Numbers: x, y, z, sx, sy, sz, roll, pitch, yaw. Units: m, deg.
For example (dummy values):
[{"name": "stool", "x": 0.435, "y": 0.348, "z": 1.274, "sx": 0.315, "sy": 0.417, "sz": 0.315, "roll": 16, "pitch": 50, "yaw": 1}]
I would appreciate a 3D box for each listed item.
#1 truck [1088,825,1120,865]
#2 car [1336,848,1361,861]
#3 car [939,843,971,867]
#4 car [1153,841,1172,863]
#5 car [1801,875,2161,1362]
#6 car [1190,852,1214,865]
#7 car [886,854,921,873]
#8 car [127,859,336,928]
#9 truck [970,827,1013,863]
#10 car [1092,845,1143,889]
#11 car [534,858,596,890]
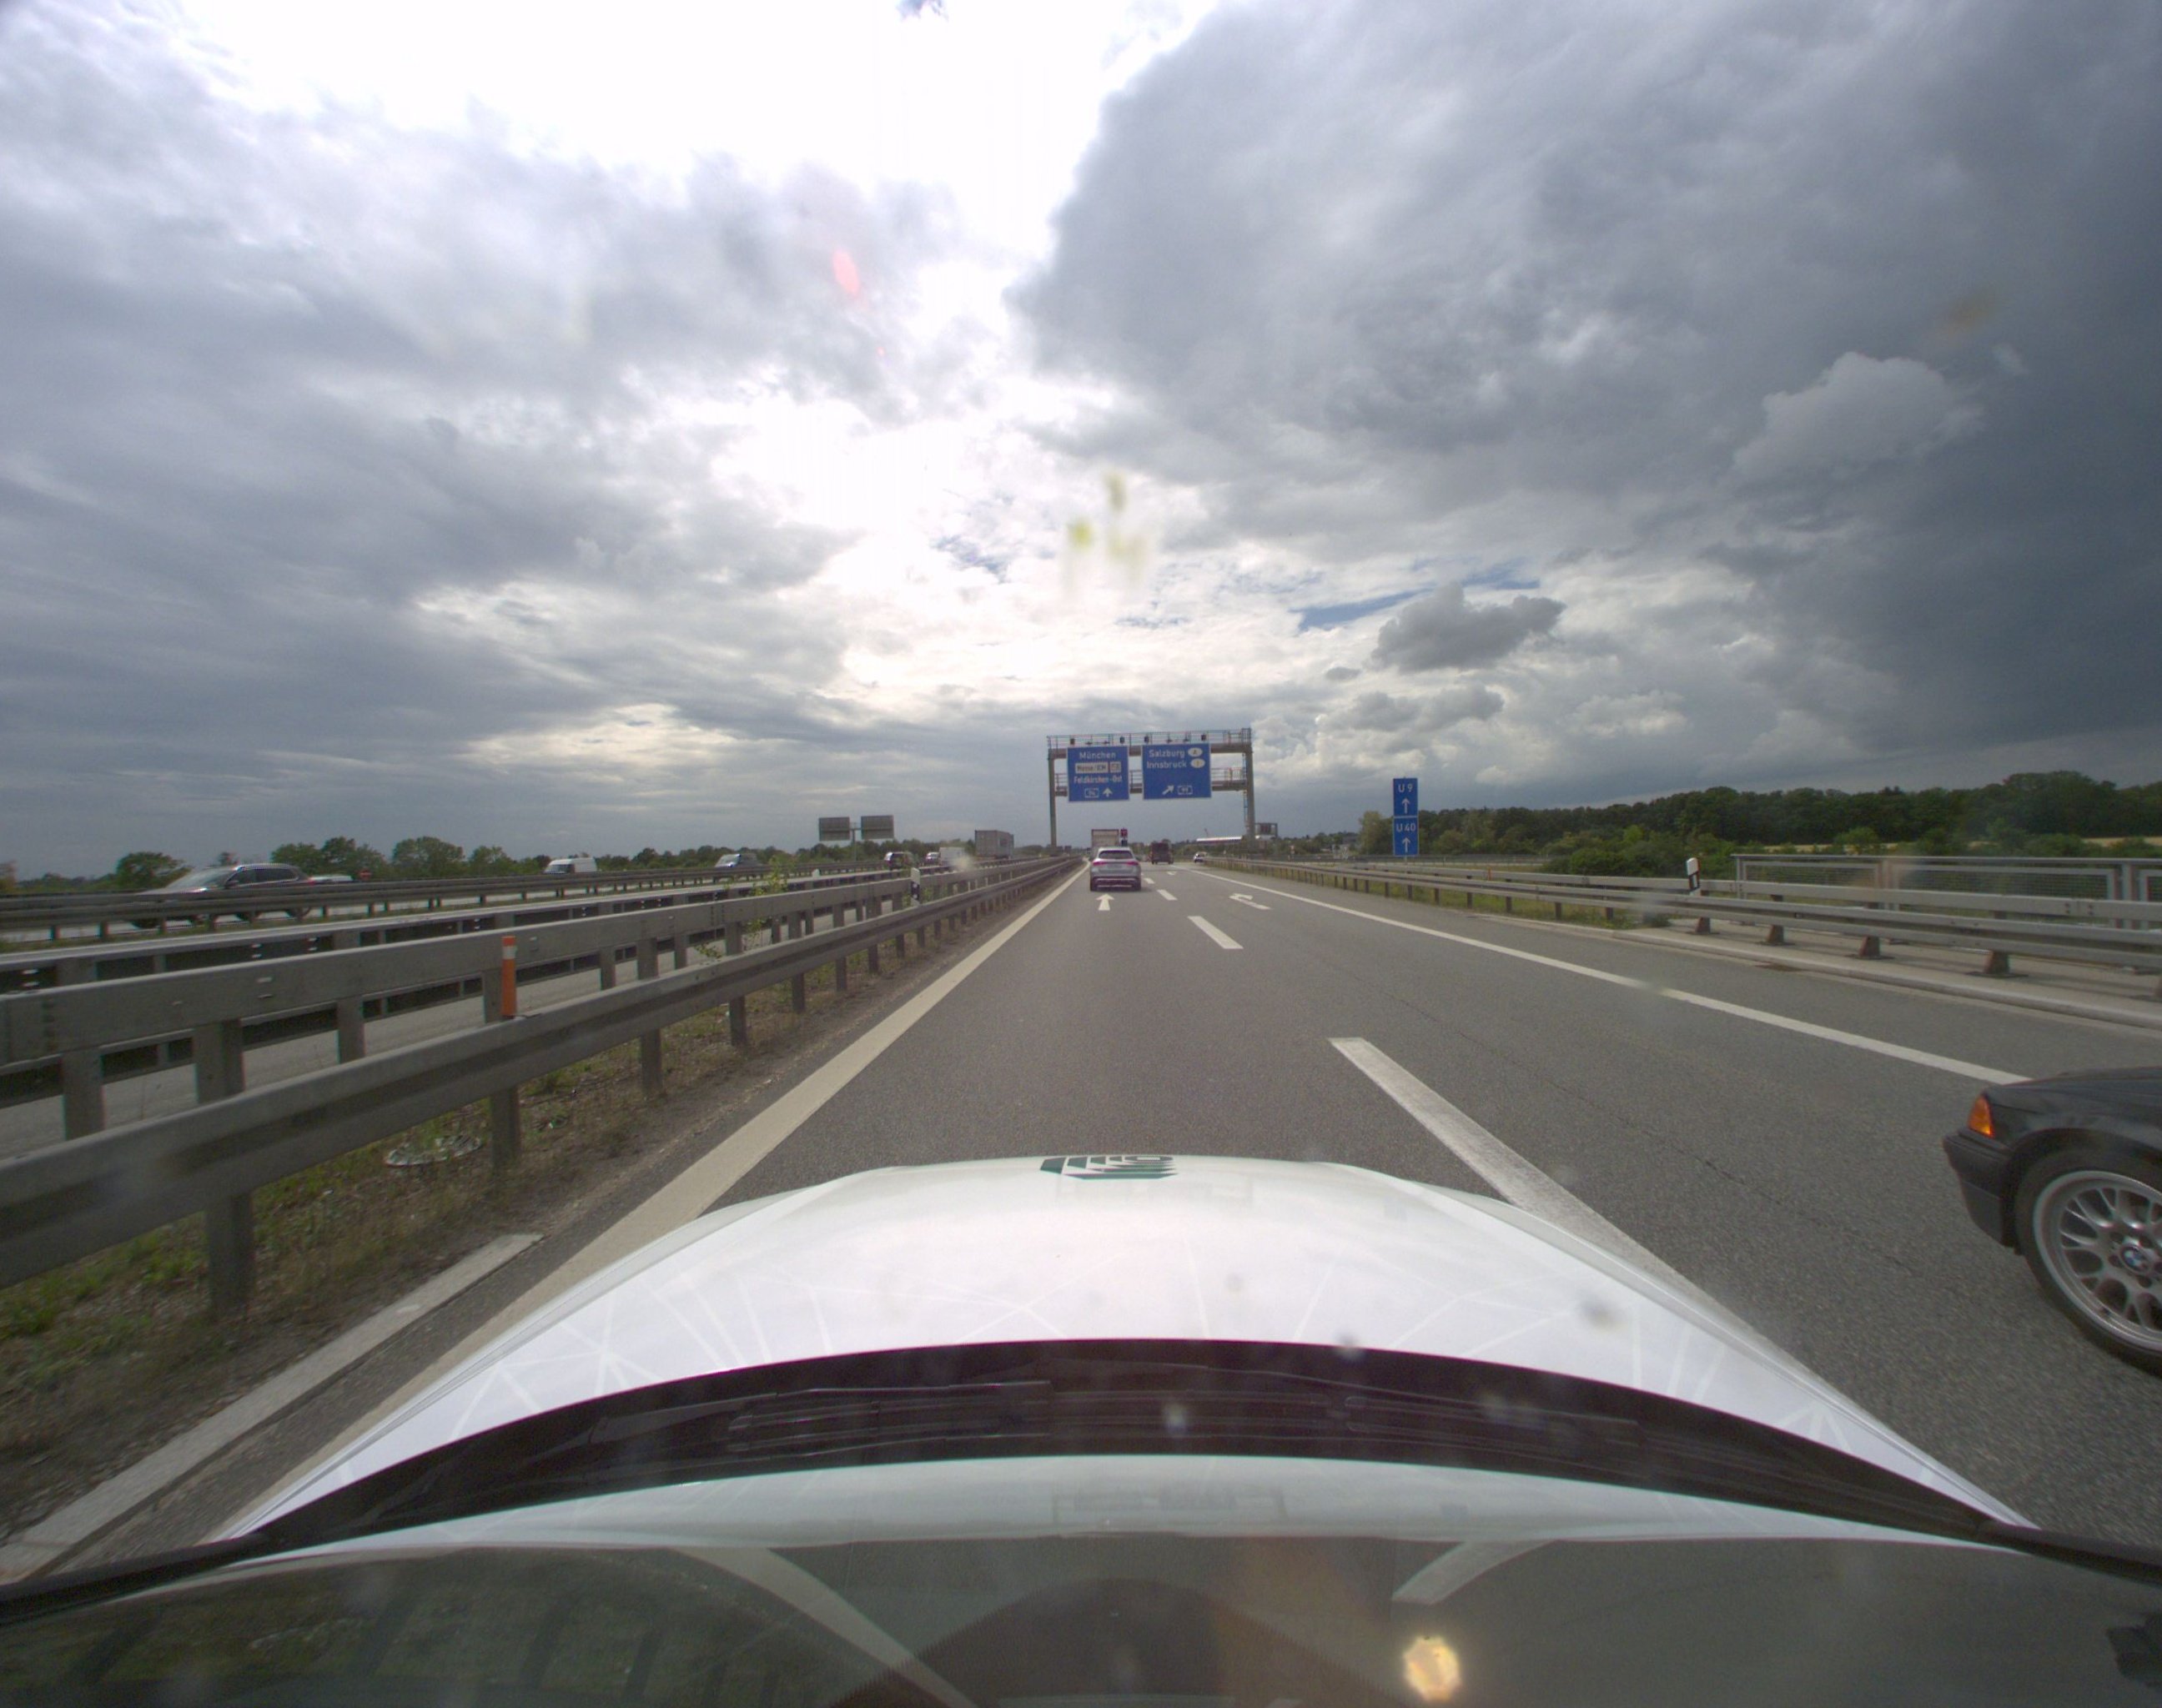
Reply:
[{"name": "truck", "x": 1.961, "y": -0.713, "z": 68.711, "sx": 2.559, "sy": 3.126, "sz": 8.638, "roll": 0, "pitch": 0, "yaw": 2}, {"name": "car", "x": 46.662, "y": 0.051, "z": 142.192, "sx": 4.009, "sy": 2.013, "sz": 1.768, "roll": 2, "pitch": 0, "yaw": -27}, {"name": "car", "x": -11.277, "y": 0.072, "z": 72.976, "sx": 1.986, "sy": 2.013, "sz": 4.377, "roll": 0, "pitch": 1, "yaw": 2}, {"name": "car", "x": 8.606, "y": -0.222, "z": 86.748, "sx": 1.898, "sy": 2.261, "sz": 4.655, "roll": 0, "pitch": 1, "yaw": 4}, {"name": "car", "x": 3.756, "y": 0.770, "z": 1.223, "sx": 1.697, "sy": 1.281, "sz": 4.370, "roll": 0, "pitch": 1, "yaw": 3}, {"name": "car", "x": 16.845, "y": 0.584, "z": 113.243, "sx": 1.974, "sy": 1.709, "sz": 4.025, "roll": 0, "pitch": 1, "yaw": 30}, {"name": "car", "x": -15.270, "y": 0.805, "z": 70.274, "sx": 1.874, "sy": 1.546, "sz": 4.617, "roll": 0, "pitch": 1, "yaw": 1}, {"name": "car", "x": -25.327, "y": 1.106, "z": 24.516, "sx": 1.902, "sy": 1.793, "sz": 4.004, "roll": -1, "pitch": 1, "yaw": 3}, {"name": "truck", "x": -10.659, "y": -1.177, "z": 99.002, "sx": 3.172, "sy": 4.018, "sz": 16.078, "roll": 0, "pitch": 1, "yaw": 1}, {"name": "car", "x": 1.376, "y": 0.441, "z": 30.982, "sx": 1.812, "sy": 1.514, "sz": 4.002, "roll": 0, "pitch": 1, "yaw": 2}, {"name": "car", "x": -41.112, "y": 1.543, "z": 65.002, "sx": 1.986, "sy": 2.306, "sz": 4.492, "roll": 0, "pitch": 1, "yaw": 2}]
